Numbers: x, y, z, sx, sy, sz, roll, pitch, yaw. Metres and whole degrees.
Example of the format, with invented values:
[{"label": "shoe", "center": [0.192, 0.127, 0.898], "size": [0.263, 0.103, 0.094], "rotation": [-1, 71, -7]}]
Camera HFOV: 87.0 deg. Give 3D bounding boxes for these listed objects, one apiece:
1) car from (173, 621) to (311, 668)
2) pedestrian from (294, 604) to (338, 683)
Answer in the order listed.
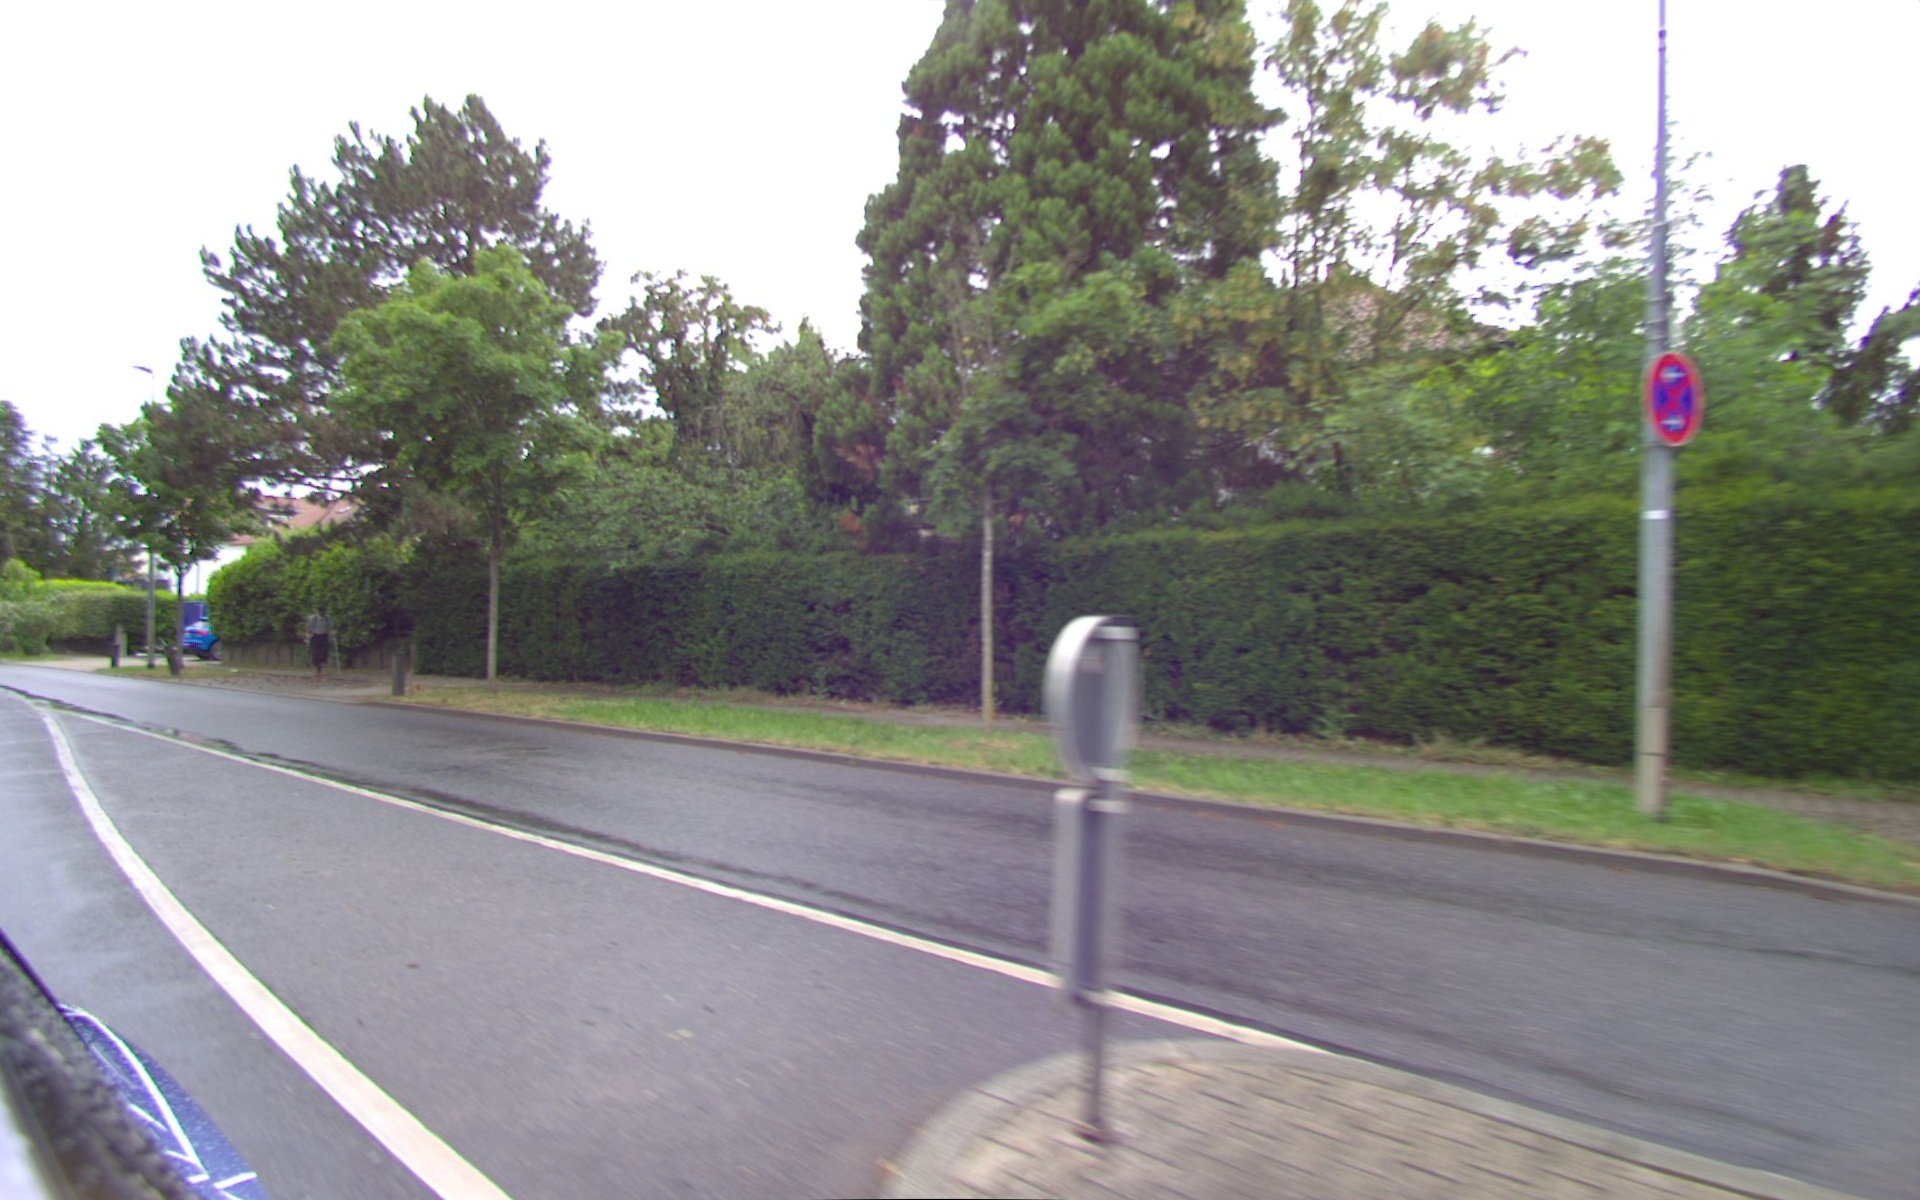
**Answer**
[{"label": "car", "center": [-26.555, 1.592, 37.547], "size": [1.814, 1.598, 3.817], "rotation": [-1, -1, 36]}, {"label": "pedestrian", "center": [-15.409, 1.031, 24.223], "size": [0.881, 1.844, 0.703], "rotation": [-1, -2, 44]}]
